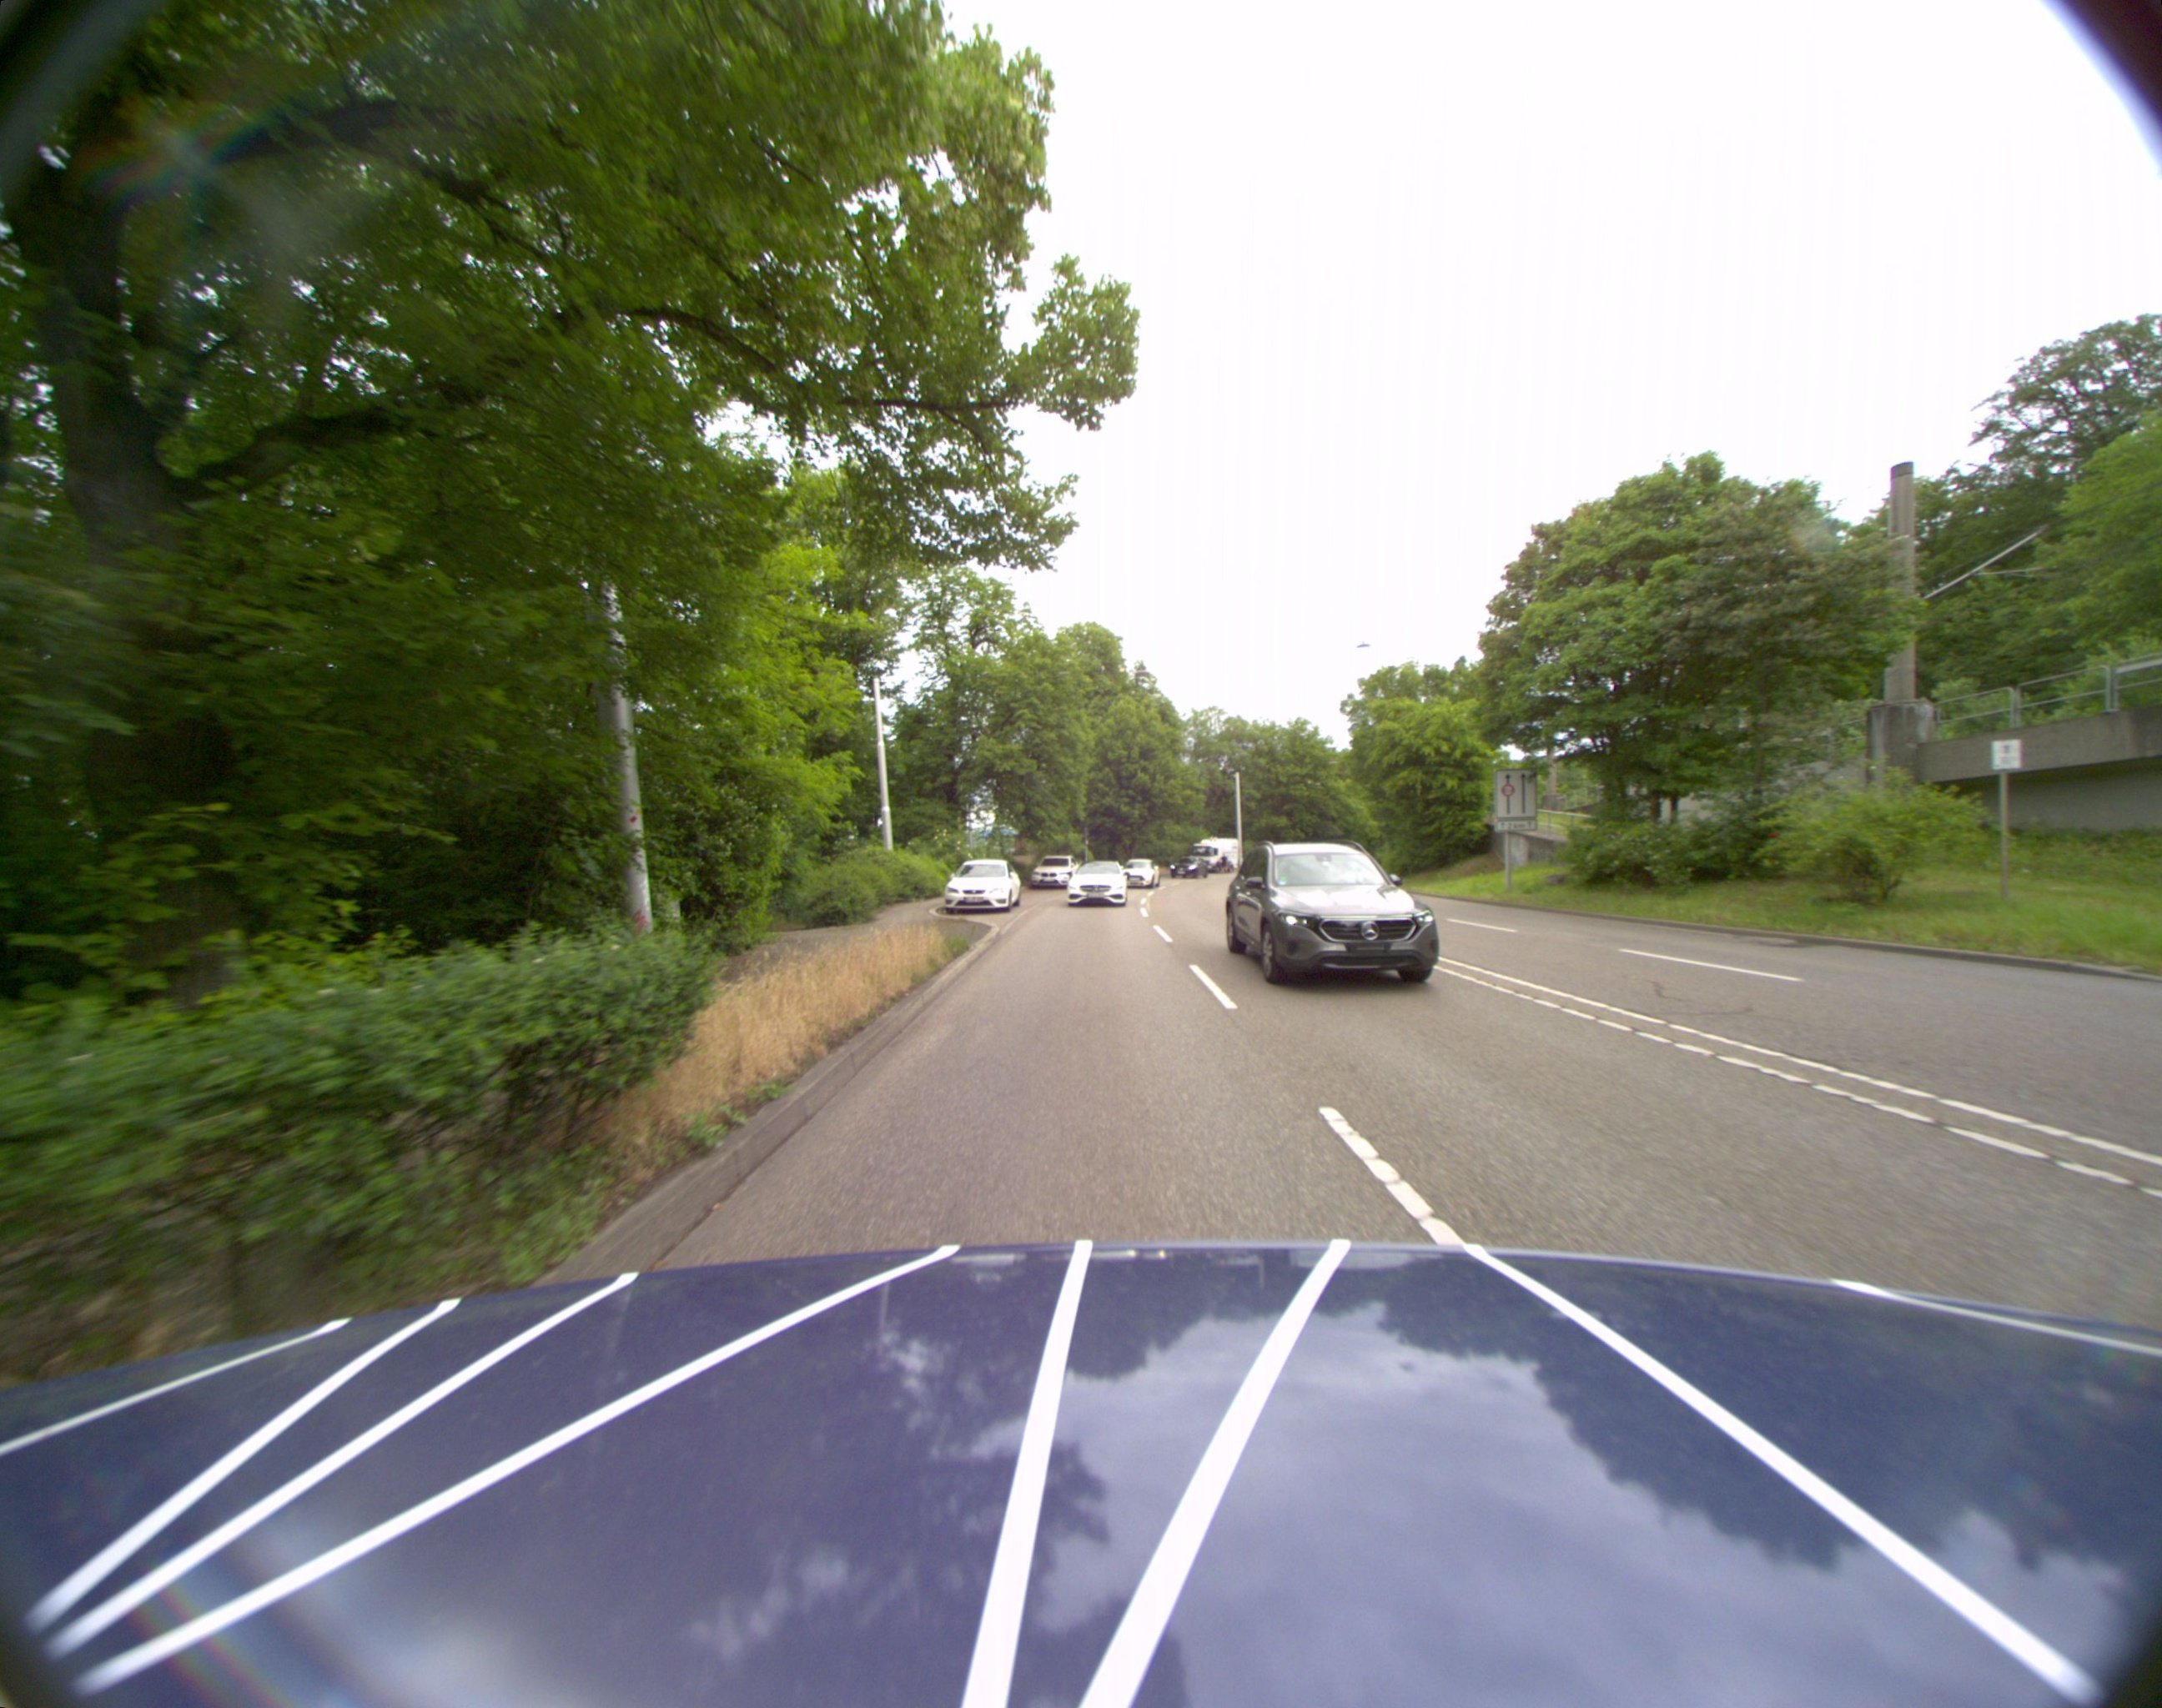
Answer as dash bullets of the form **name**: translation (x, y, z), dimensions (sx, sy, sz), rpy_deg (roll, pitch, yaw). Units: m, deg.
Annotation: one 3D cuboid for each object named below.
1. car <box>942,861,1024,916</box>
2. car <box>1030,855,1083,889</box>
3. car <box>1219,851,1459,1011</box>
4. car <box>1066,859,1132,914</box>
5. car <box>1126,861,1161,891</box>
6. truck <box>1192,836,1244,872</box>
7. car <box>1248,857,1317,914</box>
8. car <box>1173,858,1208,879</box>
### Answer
- **car**: translation (-2.727, 0.929, 21.867), dimensions (1.765, 1.433, 3.892), rpy_deg (0, -1, 1)
- **car**: translation (-1.122, 0.846, 37.113), dimensions (1.754, 1.575, 4.014), rpy_deg (-1, -1, 11)
- **car**: translation (3.062, 0.826, 10.044), dimensions (1.854, 1.641, 4.359), rpy_deg (-1, -1, 3)
- **car**: translation (0.558, 0.938, 23.427), dimensions (1.801, 1.470, 4.011), rpy_deg (2, 0, 1)
- **car**: translation (3.125, 1.054, 38.231), dimensions (1.688, 1.415, 3.734), rpy_deg (1, 0, 4)
- **truck**: translation (12.668, 0.017, 69.655), dimensions (2.195, 3.137, 6.665), rpy_deg (-1, -1, 34)
- **car**: translation (6.299, 0.929, 24.115), dimensions (1.852, 1.641, 4.362), rpy_deg (-1, -1, 12)
- **car**: translation (7.749, 0.996, 53.631), dimensions (1.753, 1.417, 4.016), rpy_deg (1, 0, 18)
